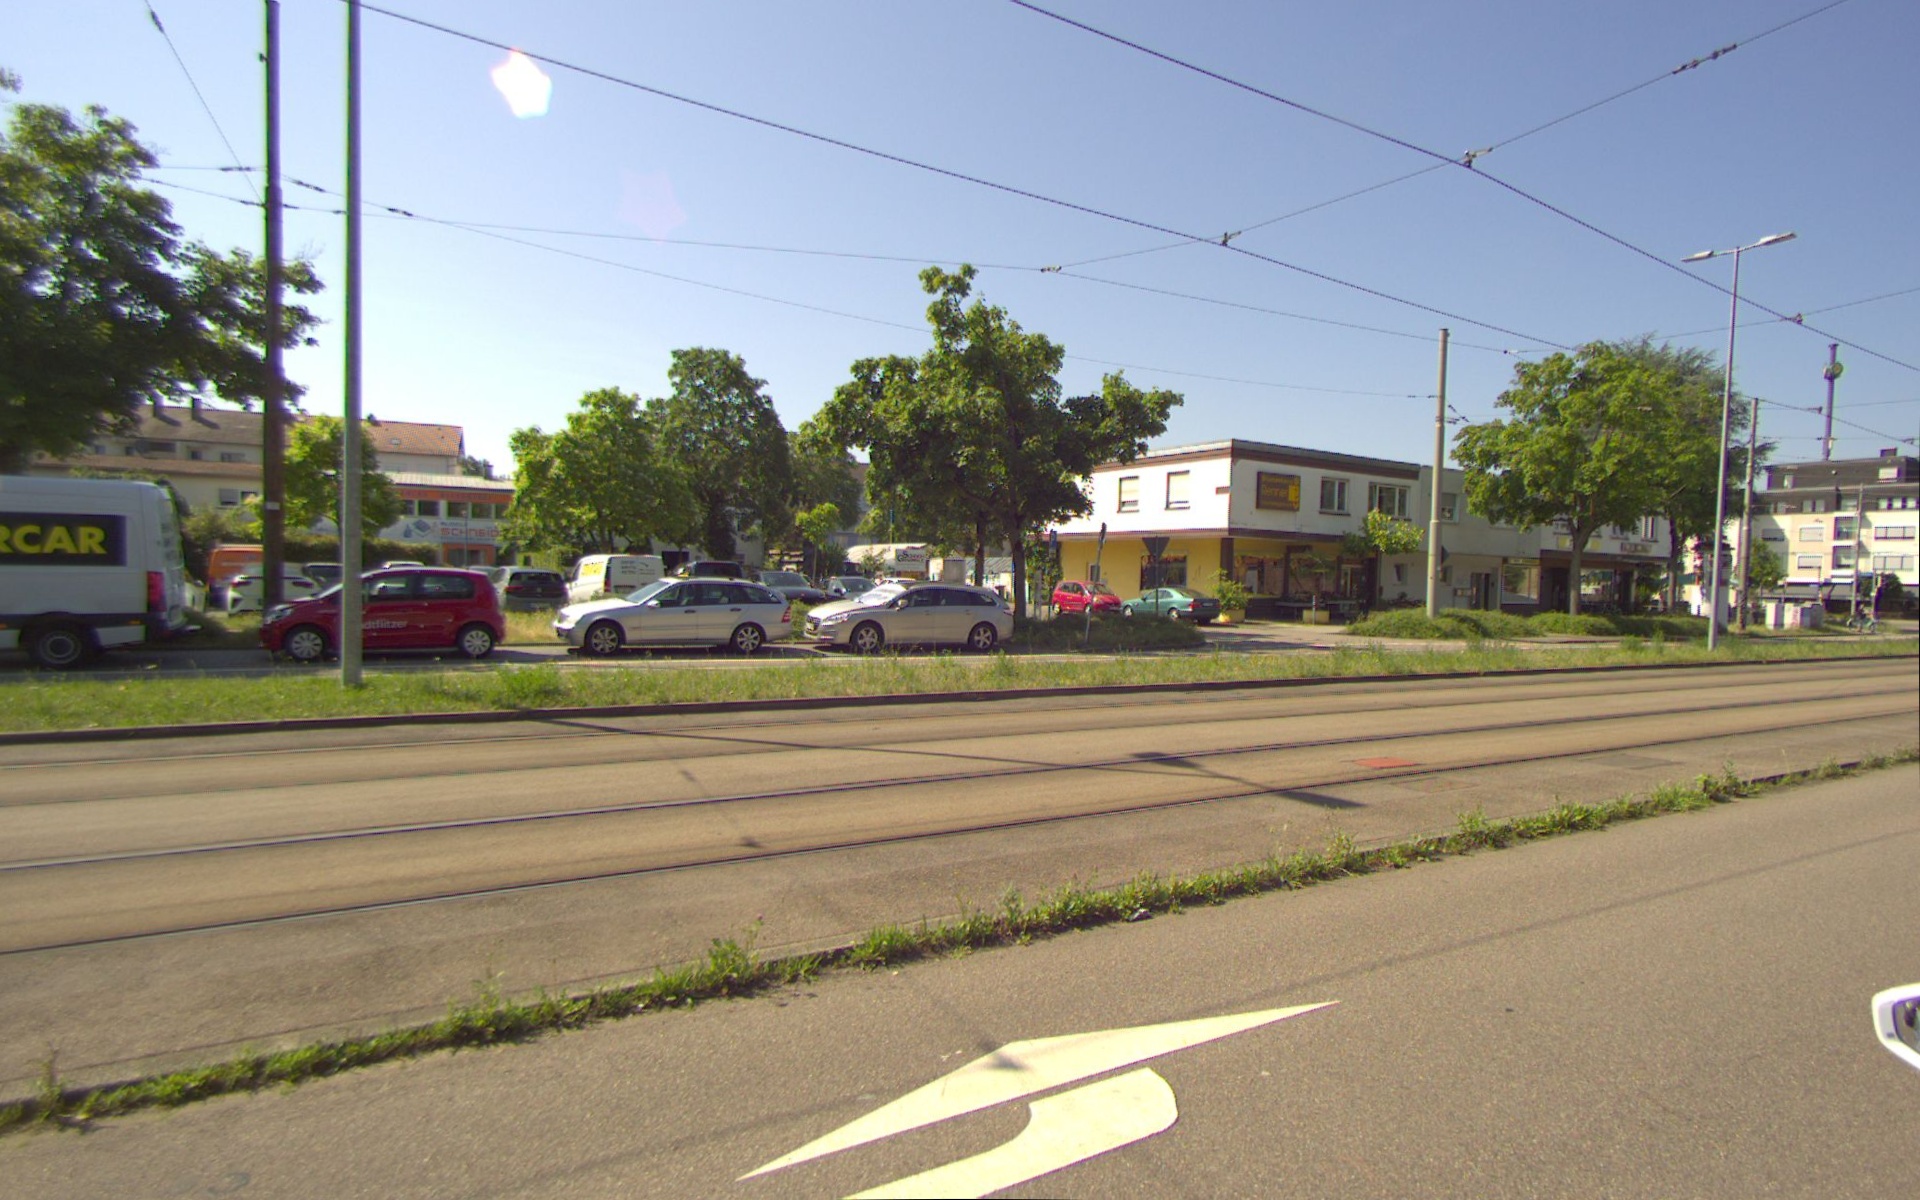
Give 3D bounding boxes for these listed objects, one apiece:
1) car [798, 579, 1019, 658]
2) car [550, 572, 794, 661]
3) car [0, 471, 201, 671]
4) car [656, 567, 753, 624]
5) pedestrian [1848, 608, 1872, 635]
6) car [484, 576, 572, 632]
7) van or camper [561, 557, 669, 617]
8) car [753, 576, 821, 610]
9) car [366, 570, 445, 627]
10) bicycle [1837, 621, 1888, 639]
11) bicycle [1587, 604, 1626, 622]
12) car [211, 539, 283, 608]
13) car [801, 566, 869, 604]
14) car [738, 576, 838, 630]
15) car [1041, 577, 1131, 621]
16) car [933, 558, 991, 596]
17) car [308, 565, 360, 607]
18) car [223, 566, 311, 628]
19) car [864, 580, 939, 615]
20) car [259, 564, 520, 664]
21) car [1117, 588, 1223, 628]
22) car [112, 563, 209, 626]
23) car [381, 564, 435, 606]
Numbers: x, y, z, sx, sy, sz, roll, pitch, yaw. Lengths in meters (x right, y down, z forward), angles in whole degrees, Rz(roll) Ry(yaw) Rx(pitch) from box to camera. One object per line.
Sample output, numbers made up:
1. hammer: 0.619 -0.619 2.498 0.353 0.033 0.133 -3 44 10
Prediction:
1. car: -1.073 0.382 21.900 4.562 1.510 1.596 1 3 -30
2. car: -5.449 0.288 19.250 4.301 1.510 1.285 1 3 -31
3. car: -14.236 -0.457 13.743 5.910 2.666 2.184 1 3 -31
4. car: -7.696 -0.158 30.044 1.645 1.584 3.964 1 1 -32
5. pedestrian: 51.729 1.218 57.763 0.799 1.507 0.566 2 1 12
6. car: -11.760 0.066 27.215 1.474 1.389 3.962 1 1 -34
7. van or camper: -9.875 -0.380 28.569 1.858 1.584 3.959 1 1 -36
8. car: -7.909 -0.339 45.751 1.658 1.444 3.949 1 1 -32
9. car: -14.668 -0.074 26.490 1.474 1.389 3.962 1 1 -34
10. bicycle: 51.410 1.717 57.253 2.133 0.934 0.553 2 1 13
11. bicycle: 34.088 0.704 52.954 2.363 0.900 0.779 1 1 -31
12. car: -24.644 -0.915 34.812 1.891 2.229 3.962 0 1 -34
13. car: -7.592 -0.928 60.565 2.078 2.203 4.899 1 1 -33
14. car: -5.422 0.058 31.295 1.645 1.584 3.964 1 1 -32
15. car: 5.403 -0.085 43.543 1.677 1.759 4.127 1 1 -30
16. car: 0.123 -1.452 64.226 3.374 2.307 1.476 1 1 -21
17. car: -22.527 -0.519 36.135 1.515 1.444 3.824 1 1 -32
18. car: -16.915 -0.094 24.651 1.643 1.389 3.963 1 1 -33
19. car: -2.813 -0.148 47.674 1.889 1.554 3.965 1 1 -32
20. car: -9.386 0.227 16.691 3.637 1.510 1.284 1 1 -33
21. car: 8.022 0.276 38.740 1.677 1.363 4.127 1 1 -30
22. car: -19.089 -0.154 24.102 1.474 1.389 3.962 1 1 -34
23. car: -20.555 -0.572 37.345 1.515 1.444 3.824 1 1 -32
